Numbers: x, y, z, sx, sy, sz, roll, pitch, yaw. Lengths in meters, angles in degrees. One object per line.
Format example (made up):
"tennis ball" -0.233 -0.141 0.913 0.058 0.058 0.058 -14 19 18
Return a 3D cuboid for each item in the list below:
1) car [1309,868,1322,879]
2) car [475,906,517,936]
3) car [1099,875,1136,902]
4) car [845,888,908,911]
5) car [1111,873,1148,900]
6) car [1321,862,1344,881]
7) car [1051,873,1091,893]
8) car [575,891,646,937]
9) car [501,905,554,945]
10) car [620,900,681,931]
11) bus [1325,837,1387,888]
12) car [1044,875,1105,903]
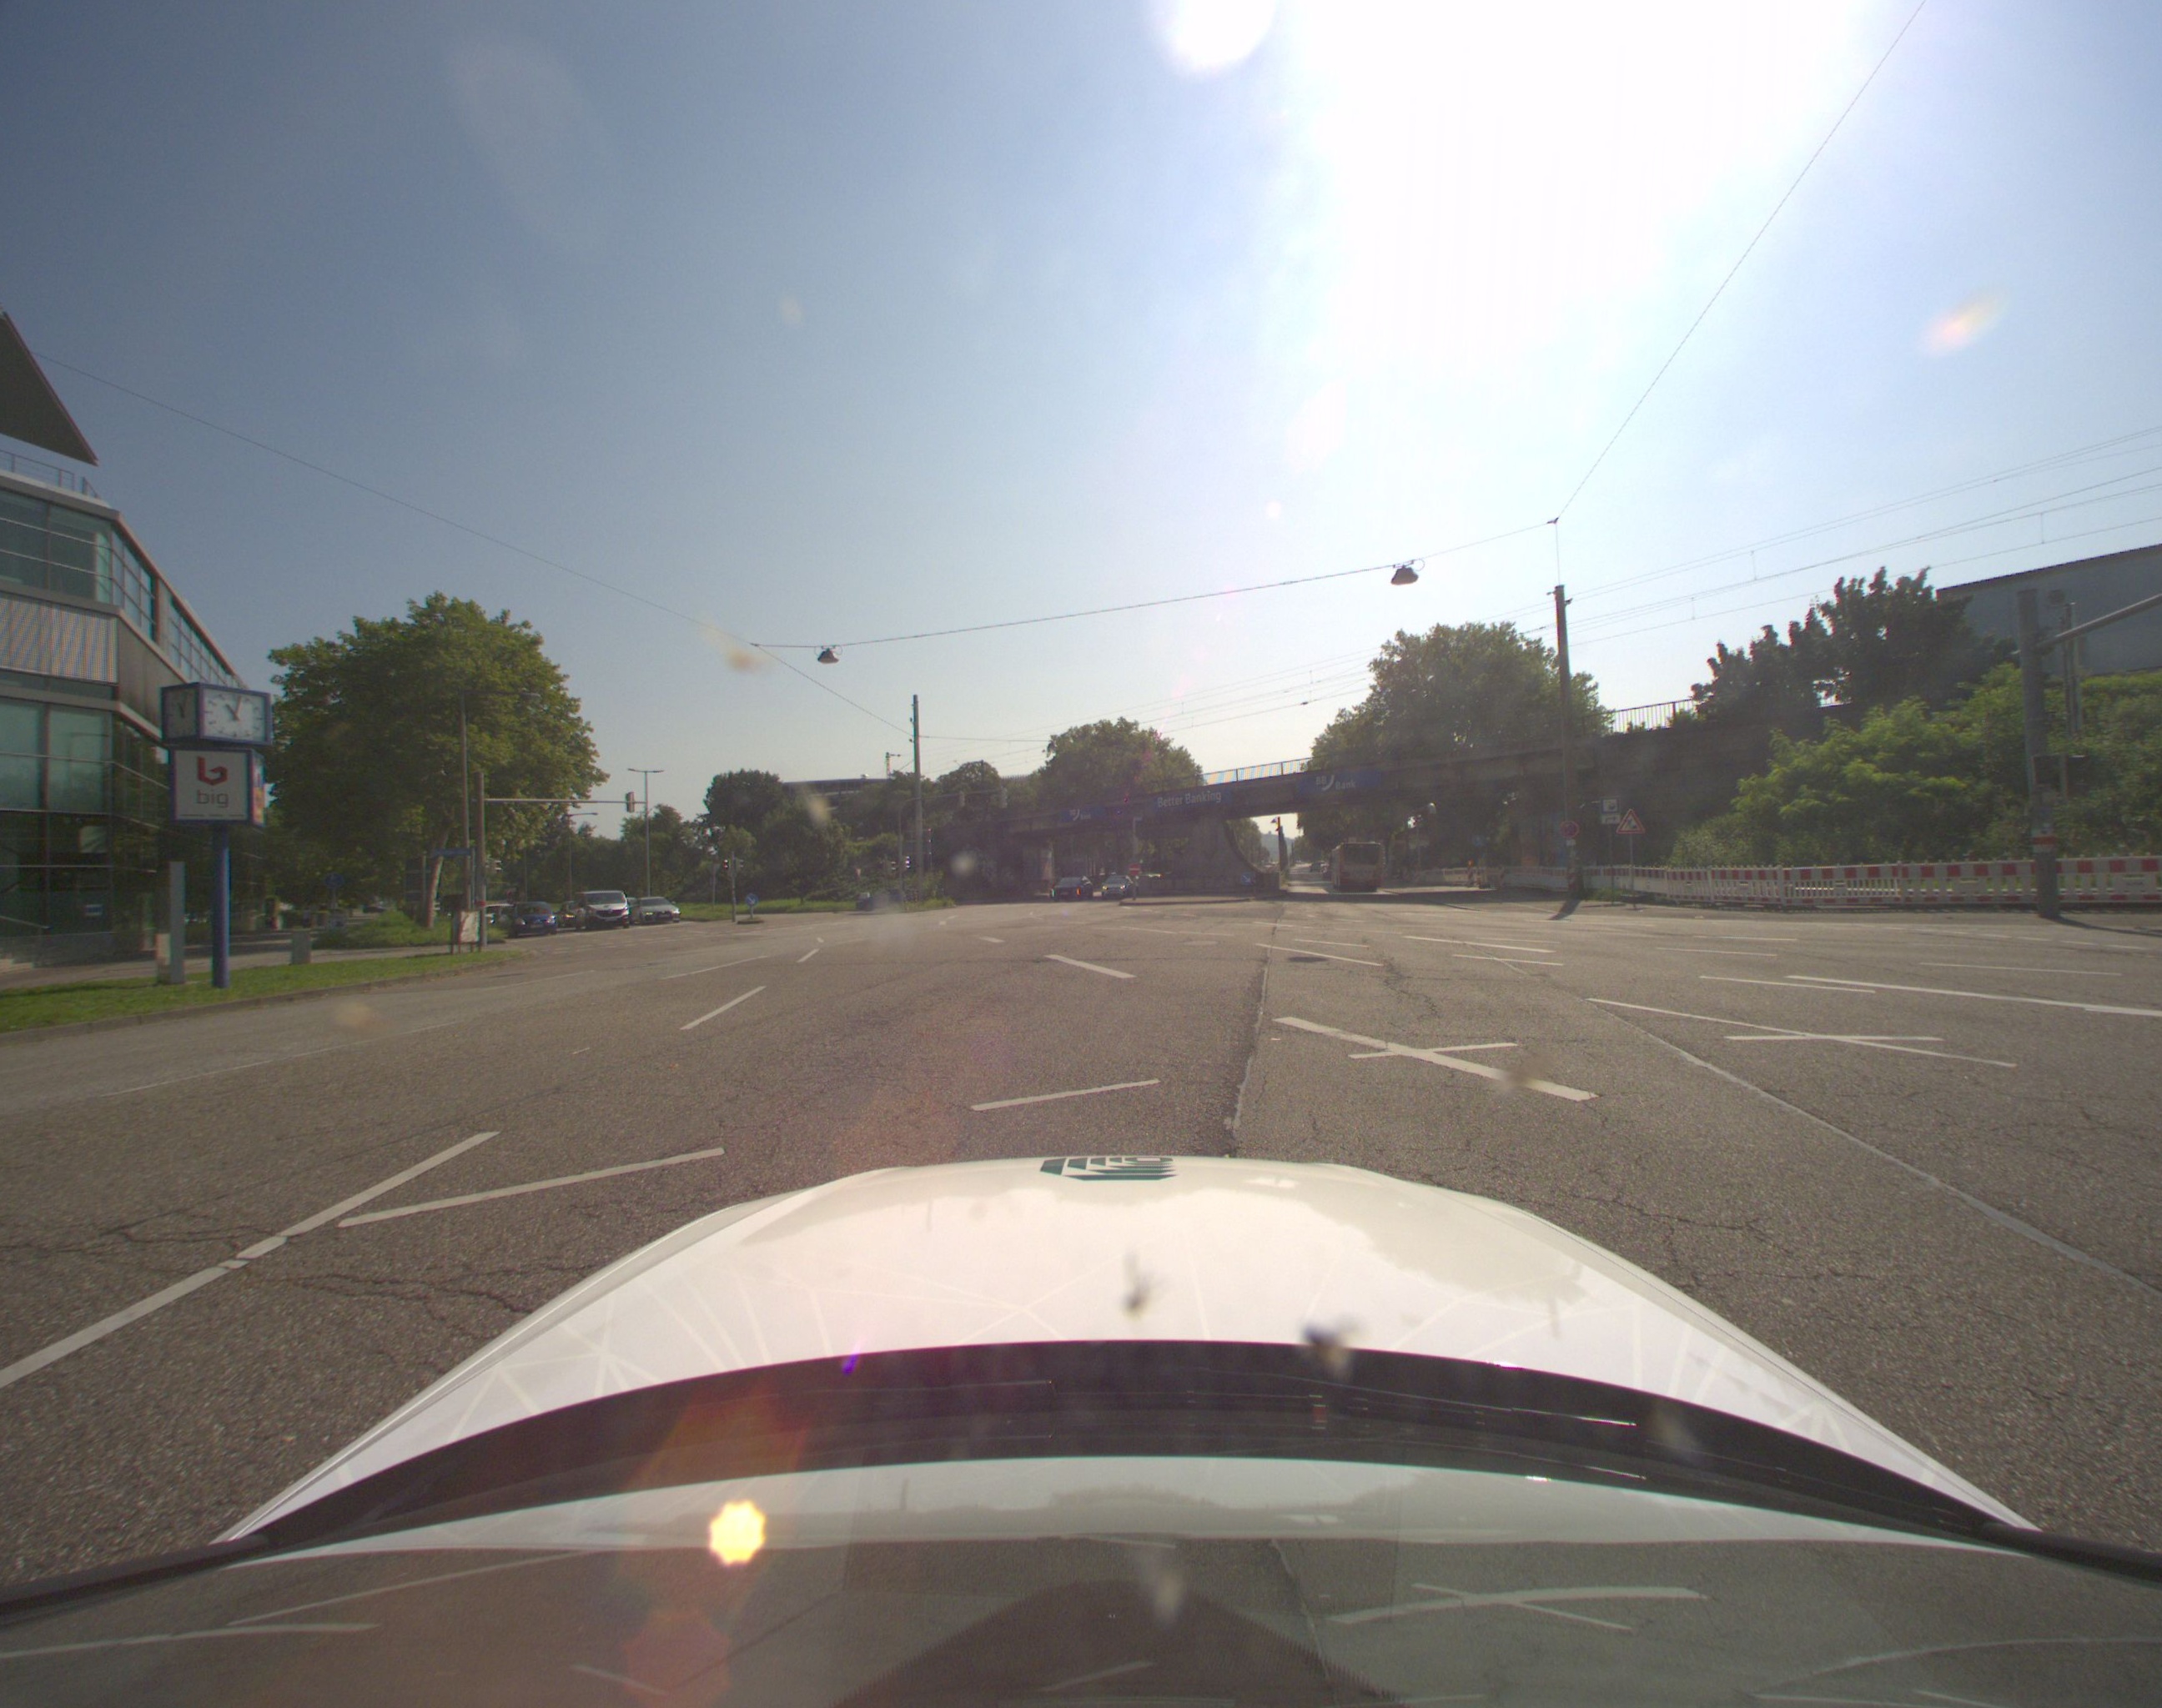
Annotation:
"car" 43.966 3.648 152.584 1.980 2.014 4.012 0 -1 11
"car" -34.038 3.896 47.341 1.682 1.535 3.686 -3 -2 -40
"car" 2.340 2.132 51.287 1.710 1.538 3.707 -3 -2 11
"car" -13.534 3.014 54.106 3.990 1.428 1.779 1 -1 -12
"car" 3.378 2.180 55.869 1.981 1.573 4.361 -2 0 11
"car" 27.317 1.911 88.557 1.980 2.014 4.012 0 -1 11
"car" -0.794 2.281 64.470 1.623 1.467 3.575 -1 -2 28
"car" -22.801 2.838 39.354 1.944 1.958 5.149 -1 -2 -42
"car" -25.577 3.227 37.594 1.682 1.535 3.687 -3 0 -39
"car" -23.277 3.296 43.938 1.851 1.443 4.550 -3 -1 -42
"bus" 18.590 0.637 55.818 3.112 3.114 12.336 0 -1 14
"car" -0.385 2.235 52.961 1.883 1.617 4.502 -5 -3 29
